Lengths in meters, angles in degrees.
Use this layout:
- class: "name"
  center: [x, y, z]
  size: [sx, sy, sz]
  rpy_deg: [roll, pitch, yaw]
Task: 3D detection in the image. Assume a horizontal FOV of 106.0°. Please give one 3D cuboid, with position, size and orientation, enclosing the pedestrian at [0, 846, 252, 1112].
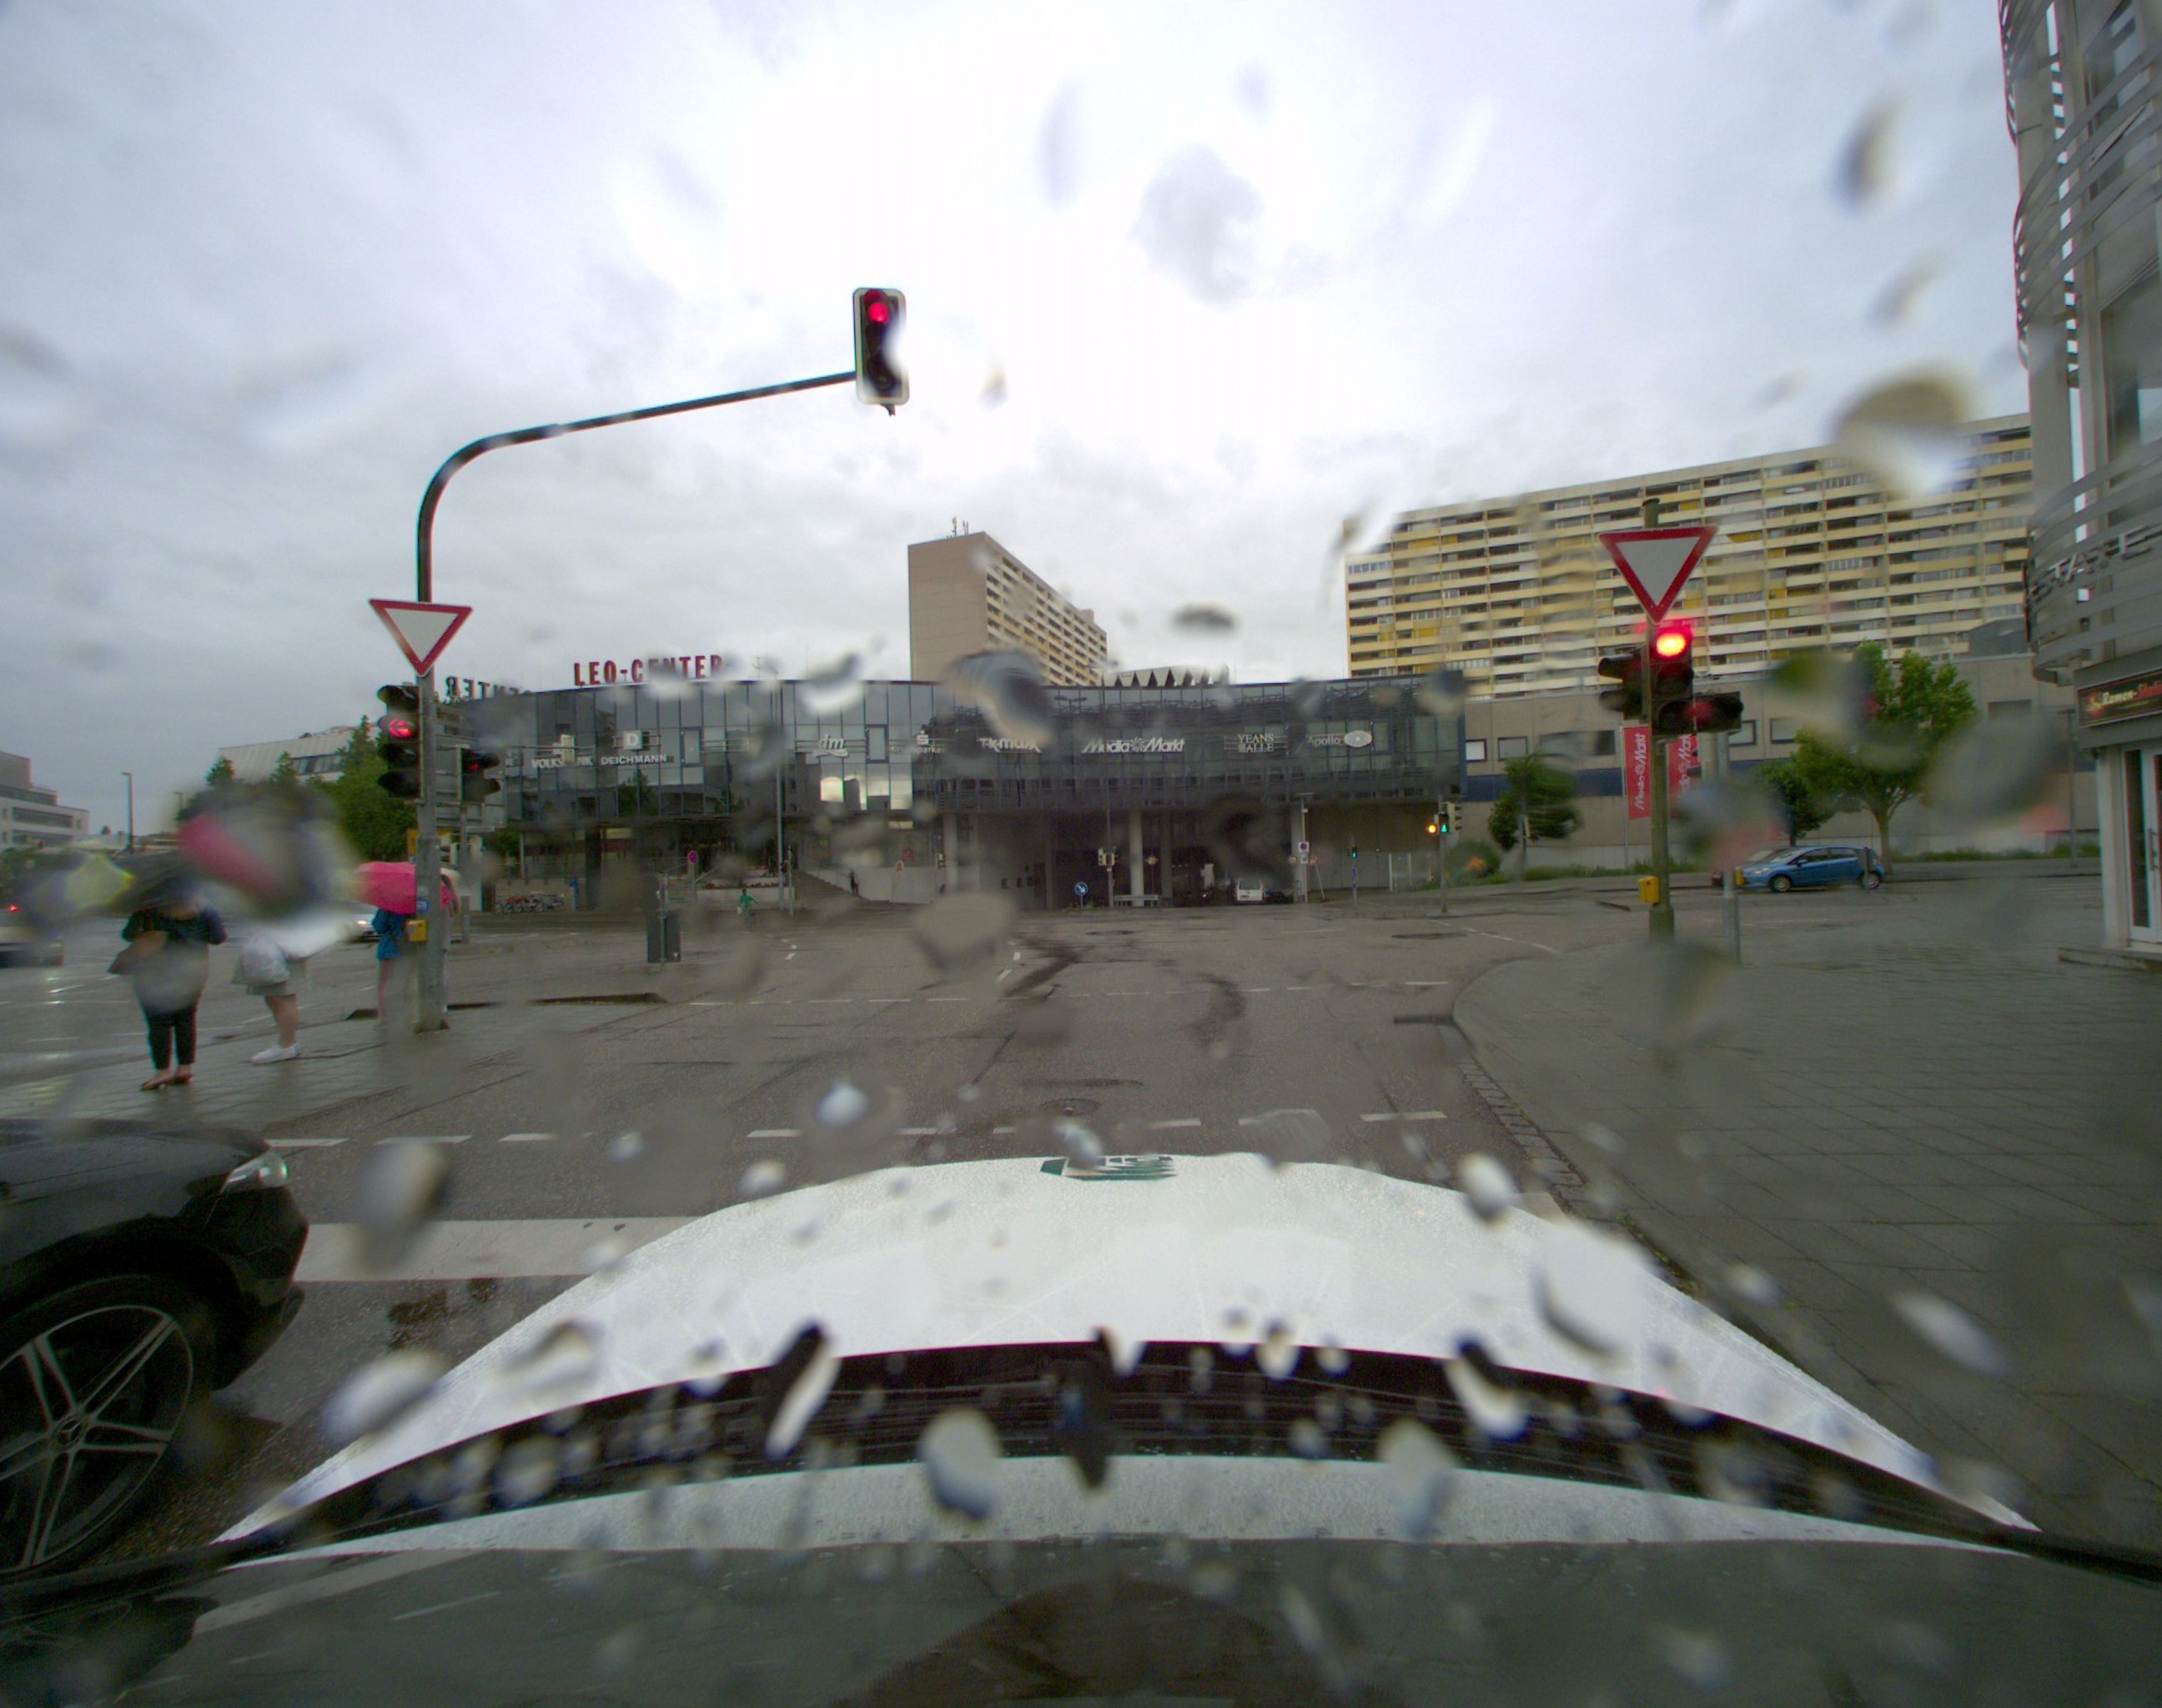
- class: "pedestrian"
  center: [-6.952, 0.836, 5.995]
  size: [0.956, 1.736, 0.829]
  rpy_deg: [-2, -2, -28]

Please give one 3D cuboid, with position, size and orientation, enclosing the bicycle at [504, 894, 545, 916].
- class: "bicycle"
  center: [-31.675, 2.876, 46.371]
  size: [0.640, 1.042, 1.865]
  rpy_deg: [-3, 1, 20]

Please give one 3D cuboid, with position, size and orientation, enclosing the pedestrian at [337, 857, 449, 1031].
- class: "pedestrian"
  center: [-7.139, 0.890, 8.456]
  size: [0.665, 1.685, 0.811]
  rpy_deg: [-4, -2, 45]

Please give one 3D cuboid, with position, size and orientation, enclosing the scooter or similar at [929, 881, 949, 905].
- class: "scooter or similar"
  center: [-8.469, 2.330, 48.531]
  size: [1.167, 1.373, 0.487]
  rpy_deg: [0, -1, -13]

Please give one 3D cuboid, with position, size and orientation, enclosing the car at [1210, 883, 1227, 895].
- class: "car"
  center: [19.318, 4.928, 114.246]
  size: [1.979, 1.464, 4.016]
  rpy_deg: [-3, -2, 15]

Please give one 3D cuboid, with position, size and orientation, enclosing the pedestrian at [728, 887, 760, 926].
- class: "pedestrian"
  center: [-14.696, 2.280, 35.496]
  size: [0.941, 1.623, 0.813]
  rpy_deg: [-3, -1, 22]

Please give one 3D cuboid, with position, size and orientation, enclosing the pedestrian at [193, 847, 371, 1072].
- class: "pedestrian"
  center: [-6.862, 0.834, 6.999]
  size: [1.123, 1.744, 0.865]
  rpy_deg: [-3, -1, 34]

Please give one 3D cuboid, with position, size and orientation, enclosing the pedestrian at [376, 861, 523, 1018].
- class: "pedestrian"
  center: [-7.208, 0.937, 9.350]
  size: [0.932, 1.677, 0.917]
  rpy_deg: [-2, -1, 1]

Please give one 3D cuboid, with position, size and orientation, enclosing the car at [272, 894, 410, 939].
- class: "car"
  center: [-26.042, 2.192, 28.696]
  size: [3.949, 1.441, 1.754]
  rpy_deg: [-2, -1, 16]

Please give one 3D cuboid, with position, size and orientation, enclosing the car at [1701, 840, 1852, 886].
- class: "car"
  center: [24.858, 0.323, 29.232]
  size: [3.660, 1.395, 1.750]
  rpy_deg: [-3, -2, 11]

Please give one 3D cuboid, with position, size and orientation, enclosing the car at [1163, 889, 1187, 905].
- class: "car"
  center: [10.520, 4.762, 91.137]
  size: [1.899, 1.588, 3.957]
  rpy_deg: [-3, -2, 17]

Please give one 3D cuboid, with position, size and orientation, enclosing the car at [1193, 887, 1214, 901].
- class: "car"
  center: [15.256, 4.967, 101.614]
  size: [1.978, 1.664, 4.018]
  rpy_deg: [-1, -1, 17]

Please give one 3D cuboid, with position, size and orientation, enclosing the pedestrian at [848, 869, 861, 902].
- class: "pedestrian"
  center: [-13.139, 1.807, 47.250]
  size: [0.655, 1.908, 0.593]
  rpy_deg: [-1, -1, -6]

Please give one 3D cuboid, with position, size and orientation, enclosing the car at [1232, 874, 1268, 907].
- class: "car"
  center: [10.111, 2.152, 48.507]
  size: [1.912, 1.798, 4.310]
  rpy_deg: [-2, -3, 13]

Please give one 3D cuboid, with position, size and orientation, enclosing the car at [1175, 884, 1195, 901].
- class: "car"
  center: [12.261, 4.517, 95.903]
  size: [1.823, 1.728, 4.014]
  rpy_deg: [-2, -1, 13]

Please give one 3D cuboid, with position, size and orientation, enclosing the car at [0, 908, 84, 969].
- class: "car"
  center: [-28.129, 2.175, 21.121]
  size: [5.079, 1.414, 2.136]
  rpy_deg: [-3, -2, 31]

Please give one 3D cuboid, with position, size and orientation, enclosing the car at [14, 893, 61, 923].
- class: "car"
  center: [-75.156, 3.857, 58.669]
  size: [4.085, 1.896, 2.062]
  rpy_deg: [-1, -1, 38]

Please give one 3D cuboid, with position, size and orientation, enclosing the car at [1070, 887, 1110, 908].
- class: "car"
  center: [0.710, 3.399, 62.575]
  size: [1.877, 1.470, 4.044]
  rpy_deg: [-2, -5, 18]

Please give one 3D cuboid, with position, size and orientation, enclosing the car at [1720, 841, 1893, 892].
- class: "car"
  center: [23.372, 0.418, 26.388]
  size: [3.819, 1.397, 1.684]
  rpy_deg: [-3, -2, 10]

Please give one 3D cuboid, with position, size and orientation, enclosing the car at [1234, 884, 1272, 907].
- class: "car"
  center: [11.871, 2.886, 56.048]
  size: [1.742, 1.464, 3.963]
  rpy_deg: [-3, -5, 23]

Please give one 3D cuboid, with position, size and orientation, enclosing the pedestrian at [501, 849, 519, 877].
- class: "pedestrian"
  center: [-34.994, 0.547, 49.922]
  size: [0.592, 1.714, 0.658]
  rpy_deg: [-1, -1, 25]

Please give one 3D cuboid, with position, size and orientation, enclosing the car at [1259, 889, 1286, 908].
- class: "car"
  center: [15.479, 3.620, 65.612]
  size: [1.765, 1.400, 4.017]
  rpy_deg: [-3, -4, 17]

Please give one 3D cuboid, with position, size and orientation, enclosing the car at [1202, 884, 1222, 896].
- class: "car"
  center: [17.603, 4.860, 109.202]
  size: [1.978, 1.464, 4.018]
  rpy_deg: [-3, -2, 17]

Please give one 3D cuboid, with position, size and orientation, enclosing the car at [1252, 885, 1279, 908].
- class: "car"
  center: [13.798, 3.186, 60.767]
  size: [1.620, 1.612, 4.279]
  rpy_deg: [-3, -3, 16]

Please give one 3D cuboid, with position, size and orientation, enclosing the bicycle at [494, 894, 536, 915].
- class: "bicycle"
  center: [-32.385, 2.889, 46.615]
  size: [0.621, 1.033, 1.865]
  rpy_deg: [-3, 1, 20]

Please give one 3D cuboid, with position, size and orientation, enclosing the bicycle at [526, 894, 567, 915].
- class: "bicycle"
  center: [-30.088, 2.819, 45.893]
  size: [0.625, 1.023, 1.864]
  rpy_deg: [-3, 1, 20]

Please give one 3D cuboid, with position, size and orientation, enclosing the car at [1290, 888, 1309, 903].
- class: "car"
  center: [24.280, 4.559, 90.418]
  size: [1.874, 1.491, 3.856]
  rpy_deg: [-1, -1, 16]

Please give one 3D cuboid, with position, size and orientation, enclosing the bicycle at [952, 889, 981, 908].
- class: "bicycle"
  center: [-6.866, 2.674, 48.989]
  size: [1.591, 1.018, 0.448]
  rpy_deg: [5, -3, -29]

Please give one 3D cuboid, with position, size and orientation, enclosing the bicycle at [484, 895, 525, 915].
- class: "bicycle"
  center: [-33.081, 2.939, 46.729]
  size: [0.529, 0.951, 1.865]
  rpy_deg: [-1, 2, 23]

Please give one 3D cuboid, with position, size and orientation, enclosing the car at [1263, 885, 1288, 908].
- class: "car"
  center: [16.926, 3.636, 70.628]
  size: [1.777, 1.771, 4.017]
  rpy_deg: [-3, -2, 17]

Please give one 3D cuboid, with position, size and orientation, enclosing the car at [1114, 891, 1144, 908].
- class: "car"
  center: [4.431, 4.124, 74.423]
  size: [1.756, 1.464, 3.892]
  rpy_deg: [-3, -4, 17]

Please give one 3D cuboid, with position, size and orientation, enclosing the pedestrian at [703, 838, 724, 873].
- class: "pedestrian"
  center: [-21.364, 0.102, 47.355]
  size: [0.828, 2.014, 0.950]
  rpy_deg: [0, -1, -5]

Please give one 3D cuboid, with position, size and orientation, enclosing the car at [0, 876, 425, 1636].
- class: "car"
  center: [-2.992, 0.828, 0.608]
  size: [1.657, 1.481, 4.094]
  rpy_deg: [0, 0, 0]
